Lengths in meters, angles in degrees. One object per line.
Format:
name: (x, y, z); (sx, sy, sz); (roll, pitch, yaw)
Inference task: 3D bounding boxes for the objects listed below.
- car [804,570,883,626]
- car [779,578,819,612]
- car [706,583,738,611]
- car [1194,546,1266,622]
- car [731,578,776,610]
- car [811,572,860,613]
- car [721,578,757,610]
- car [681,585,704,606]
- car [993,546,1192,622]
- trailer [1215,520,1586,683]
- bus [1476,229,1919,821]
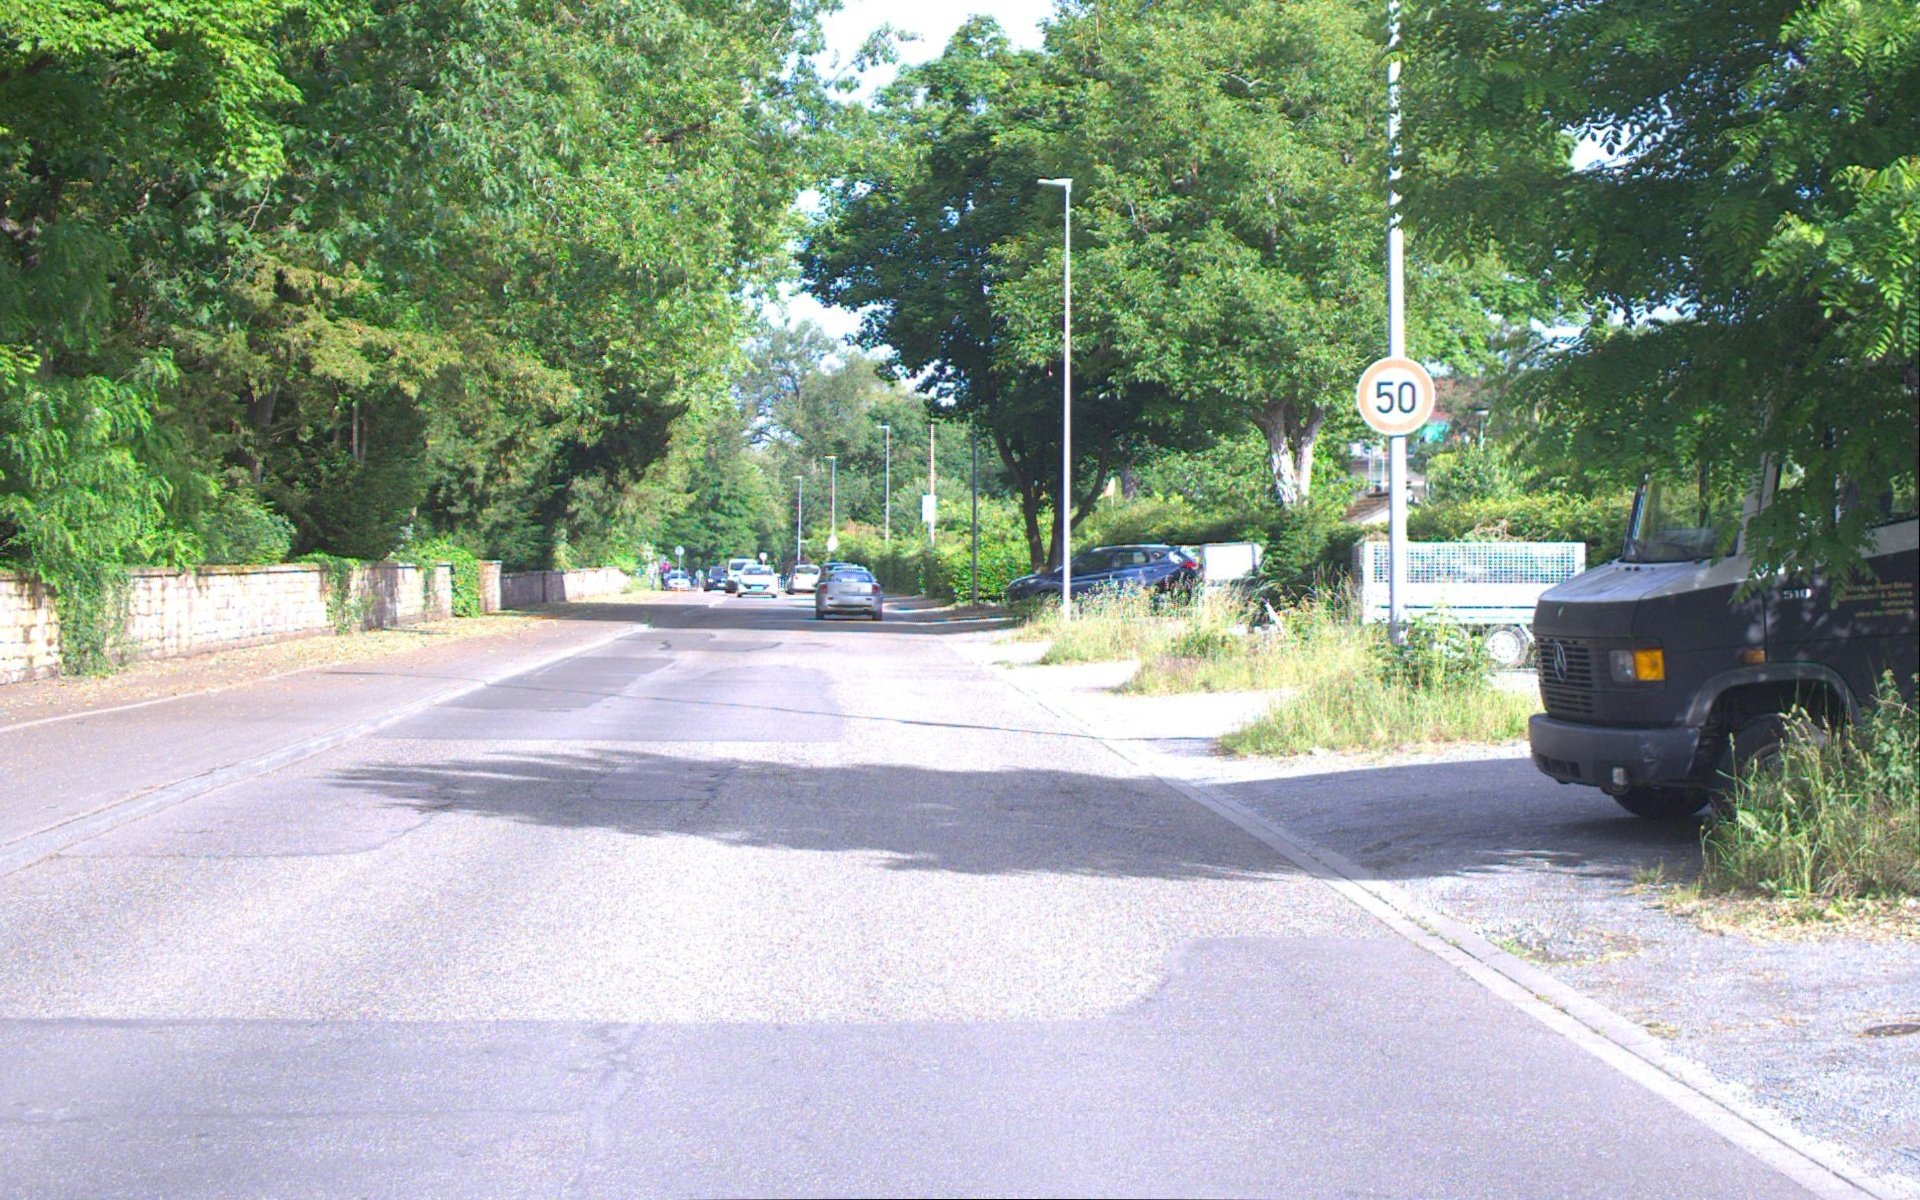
car: (-3.037, -0.041, 89.097); (1.886, 1.368, 4.055); (2, 0, -3)
car: (-8.006, -0.218, 170.389); (1.886, 1.608, 4.055); (2, 0, -3)
car: (-14.680, -0.178, 212.386); (1.886, 1.608, 4.055); (2, 0, -3)
car: (6.059, -0.345, 76.968); (1.351, 1.627, 4.110); (-1, 0, 8)
car: (-9.288, -0.269, 154.158); (1.886, 1.368, 4.055); (2, 0, -5)
car: (-5.251, -0.302, 144.616); (1.886, 1.608, 4.055); (2, 0, -3)
car: (-11.818, -0.302, 184.037); (1.886, 1.608, 4.055); (2, 0, -3)
car: (-19.086, -0.318, 245.284); (1.577, 1.447, 3.399); (1, 0, -4)
car: (3.013, -0.356, 78.907); (4.403, 1.641, 2.000); (-1, 0, -1)
trailer: (5.146, 0.018, 40.571); (4.152, 1.829, 1.916); (1, 0, 2)
bus: (5.481, -0.333, 17.215); (5.364, 2.737, 2.069); (1, 0, -5)
